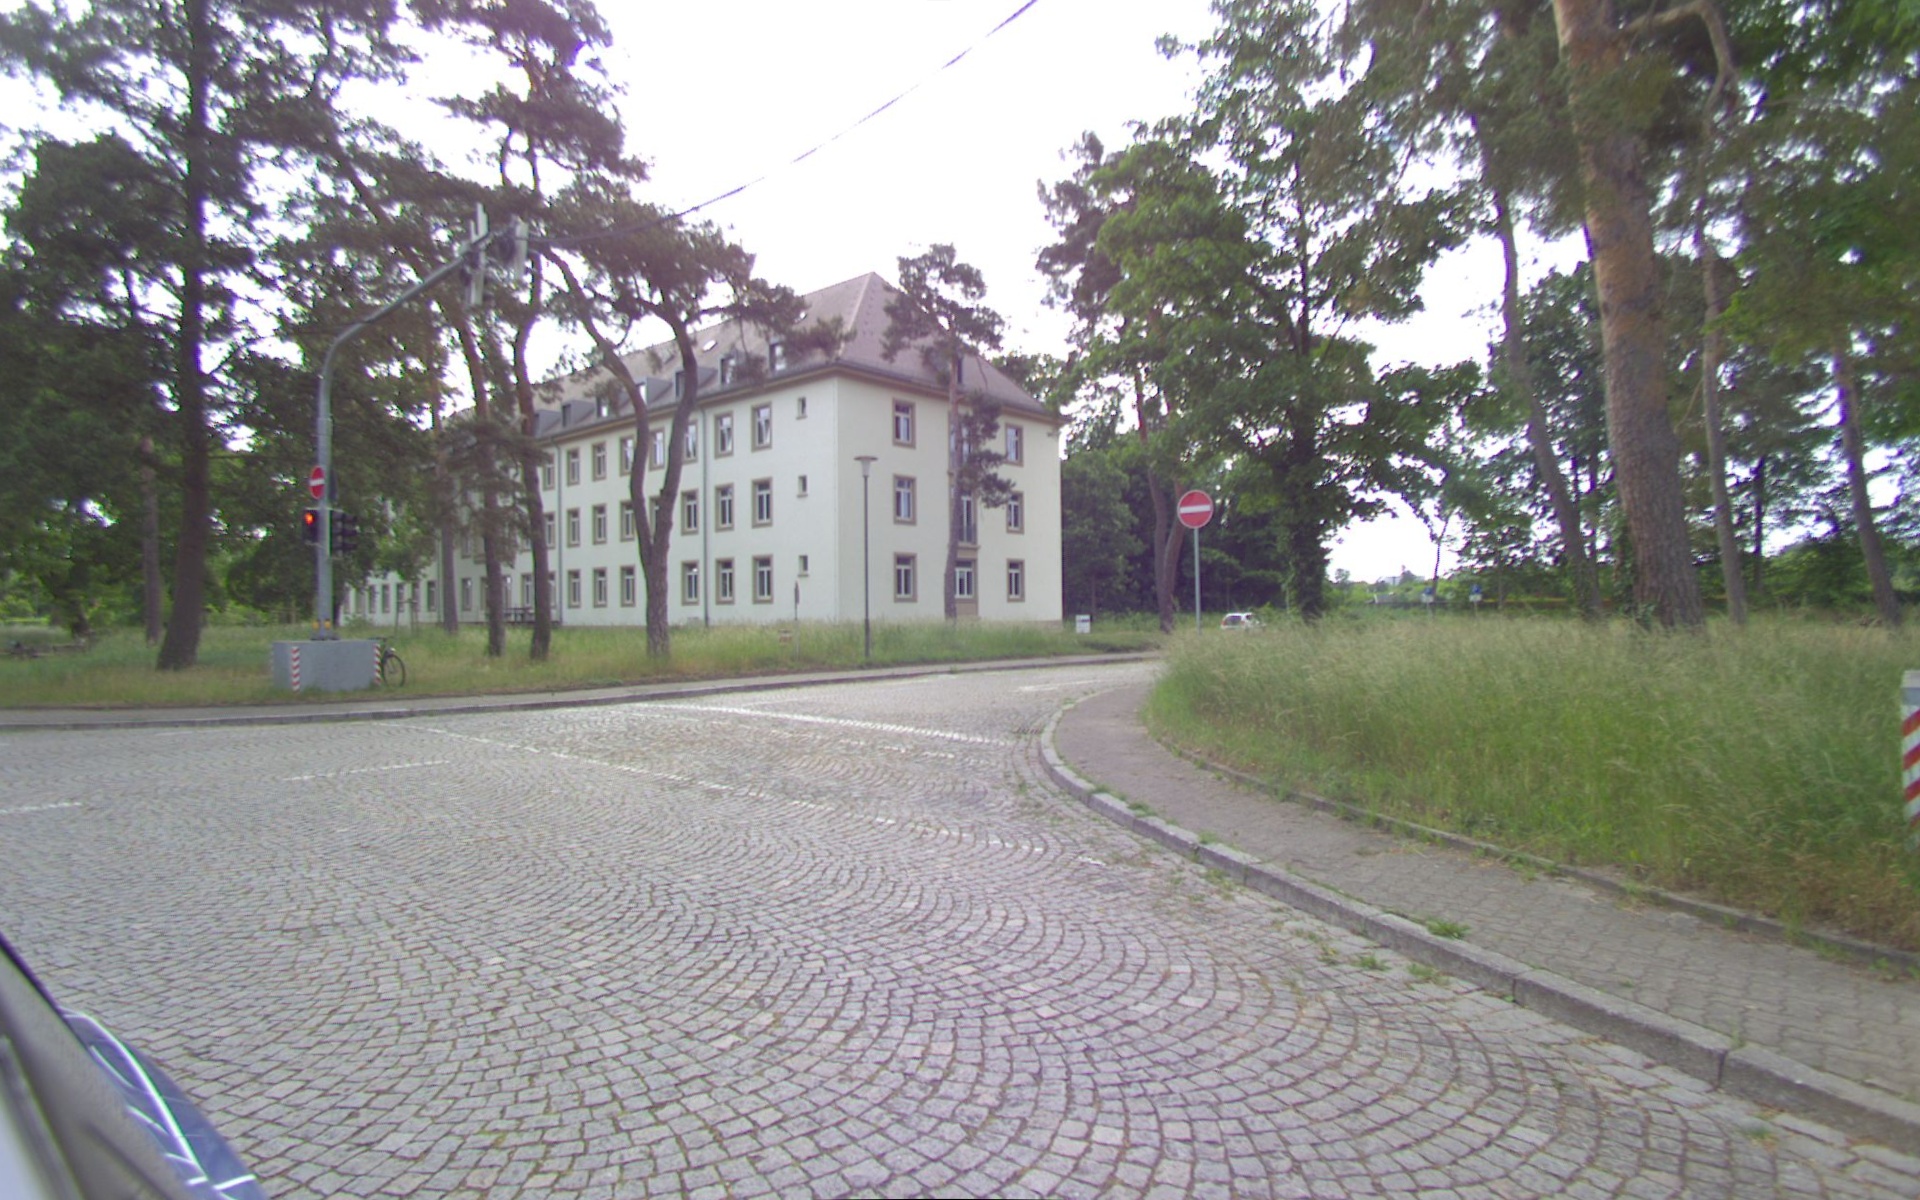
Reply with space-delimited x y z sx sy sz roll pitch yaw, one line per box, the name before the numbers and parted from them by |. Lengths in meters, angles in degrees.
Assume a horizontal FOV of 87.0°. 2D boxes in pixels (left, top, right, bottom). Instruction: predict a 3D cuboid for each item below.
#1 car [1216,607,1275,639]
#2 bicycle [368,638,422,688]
car | 17.171 1.362 60.829 1.722 1.820 3.942 -2 -1 44
bicycle | -10.843 1.205 19.430 1.046 0.923 0.291 -1 -1 20
